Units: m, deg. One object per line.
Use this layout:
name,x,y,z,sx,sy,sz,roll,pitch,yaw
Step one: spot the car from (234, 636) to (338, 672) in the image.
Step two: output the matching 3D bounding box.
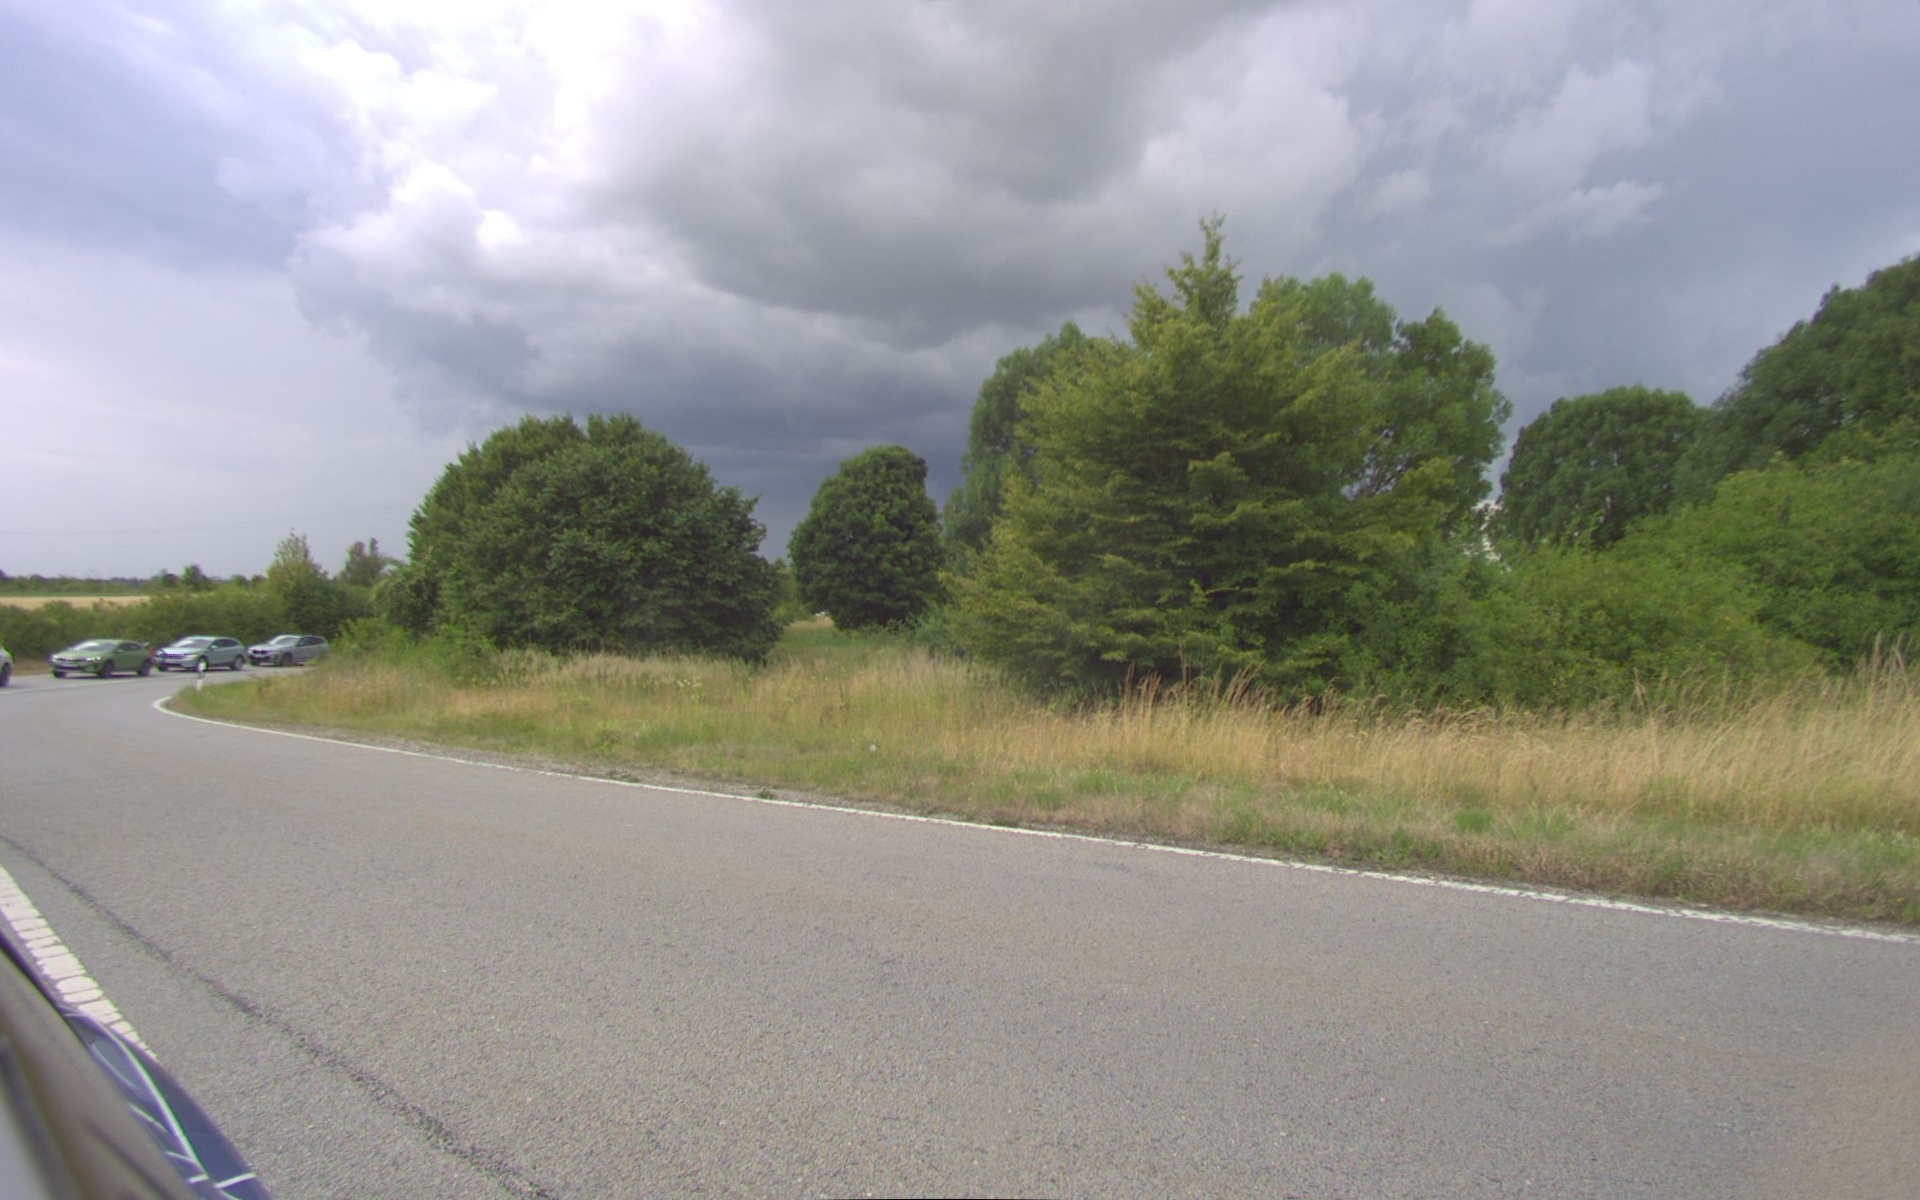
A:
car,-36.836,2.905,55.500,1.974,1.732,5.202,2,-1,4

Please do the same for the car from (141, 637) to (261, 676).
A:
car,-36.200,2.688,48.506,1.970,1.733,5.211,2,-3,-3

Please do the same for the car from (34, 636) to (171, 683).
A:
car,-34.838,2.411,41.319,1.967,1.733,5.221,2,-3,-12

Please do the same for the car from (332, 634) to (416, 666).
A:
car,-36.748,3.098,63.638,1.974,1.732,5.203,2,-1,3

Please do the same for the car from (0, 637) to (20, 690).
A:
car,-31.504,1.980,31.270,1.965,1.733,5.225,3,-3,-24
